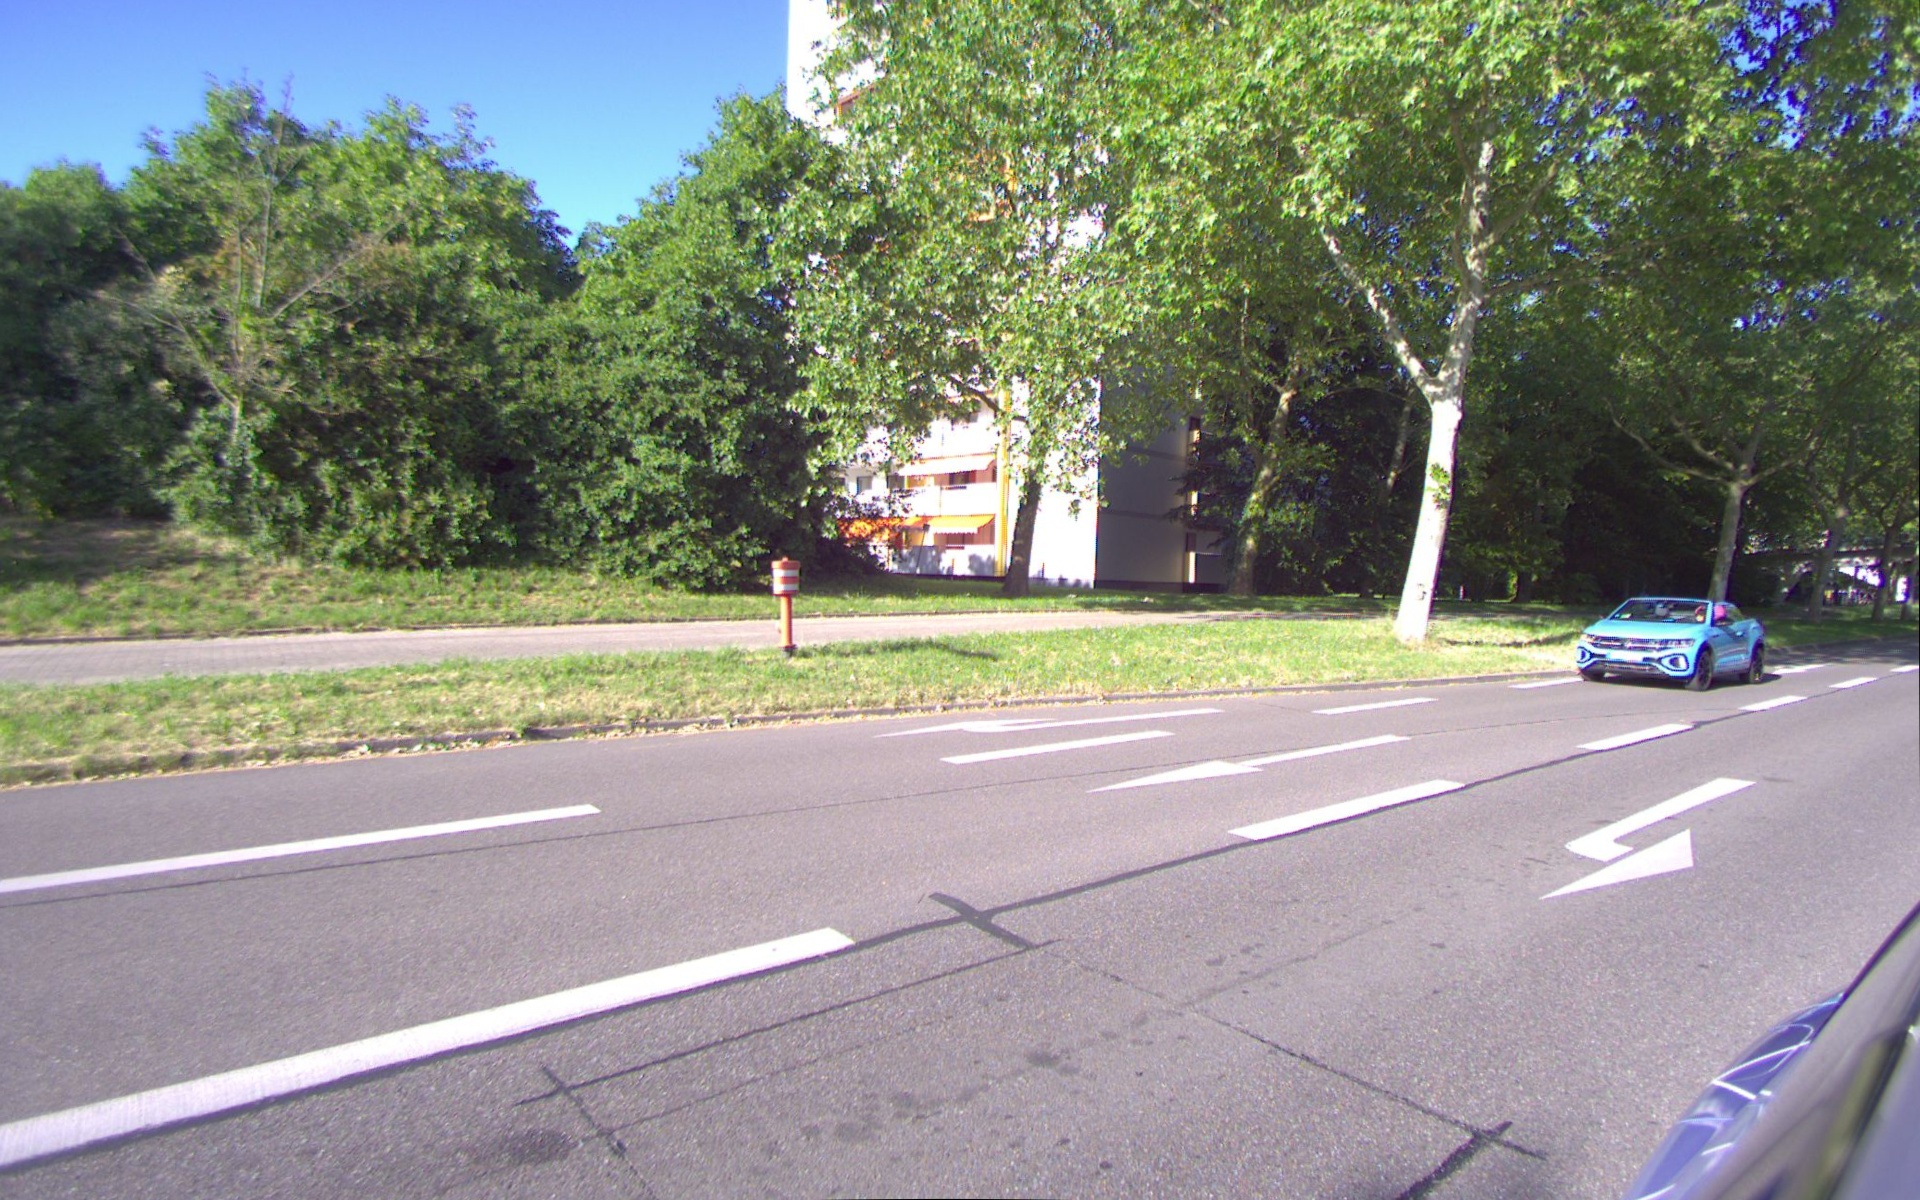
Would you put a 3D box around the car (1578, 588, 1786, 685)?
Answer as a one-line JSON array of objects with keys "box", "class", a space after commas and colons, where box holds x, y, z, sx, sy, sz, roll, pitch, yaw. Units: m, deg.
[{"box": [12.499, 0.538, 17.442, 4.054, 1.468, 1.739, 0, 1, -36], "class": "car"}]
